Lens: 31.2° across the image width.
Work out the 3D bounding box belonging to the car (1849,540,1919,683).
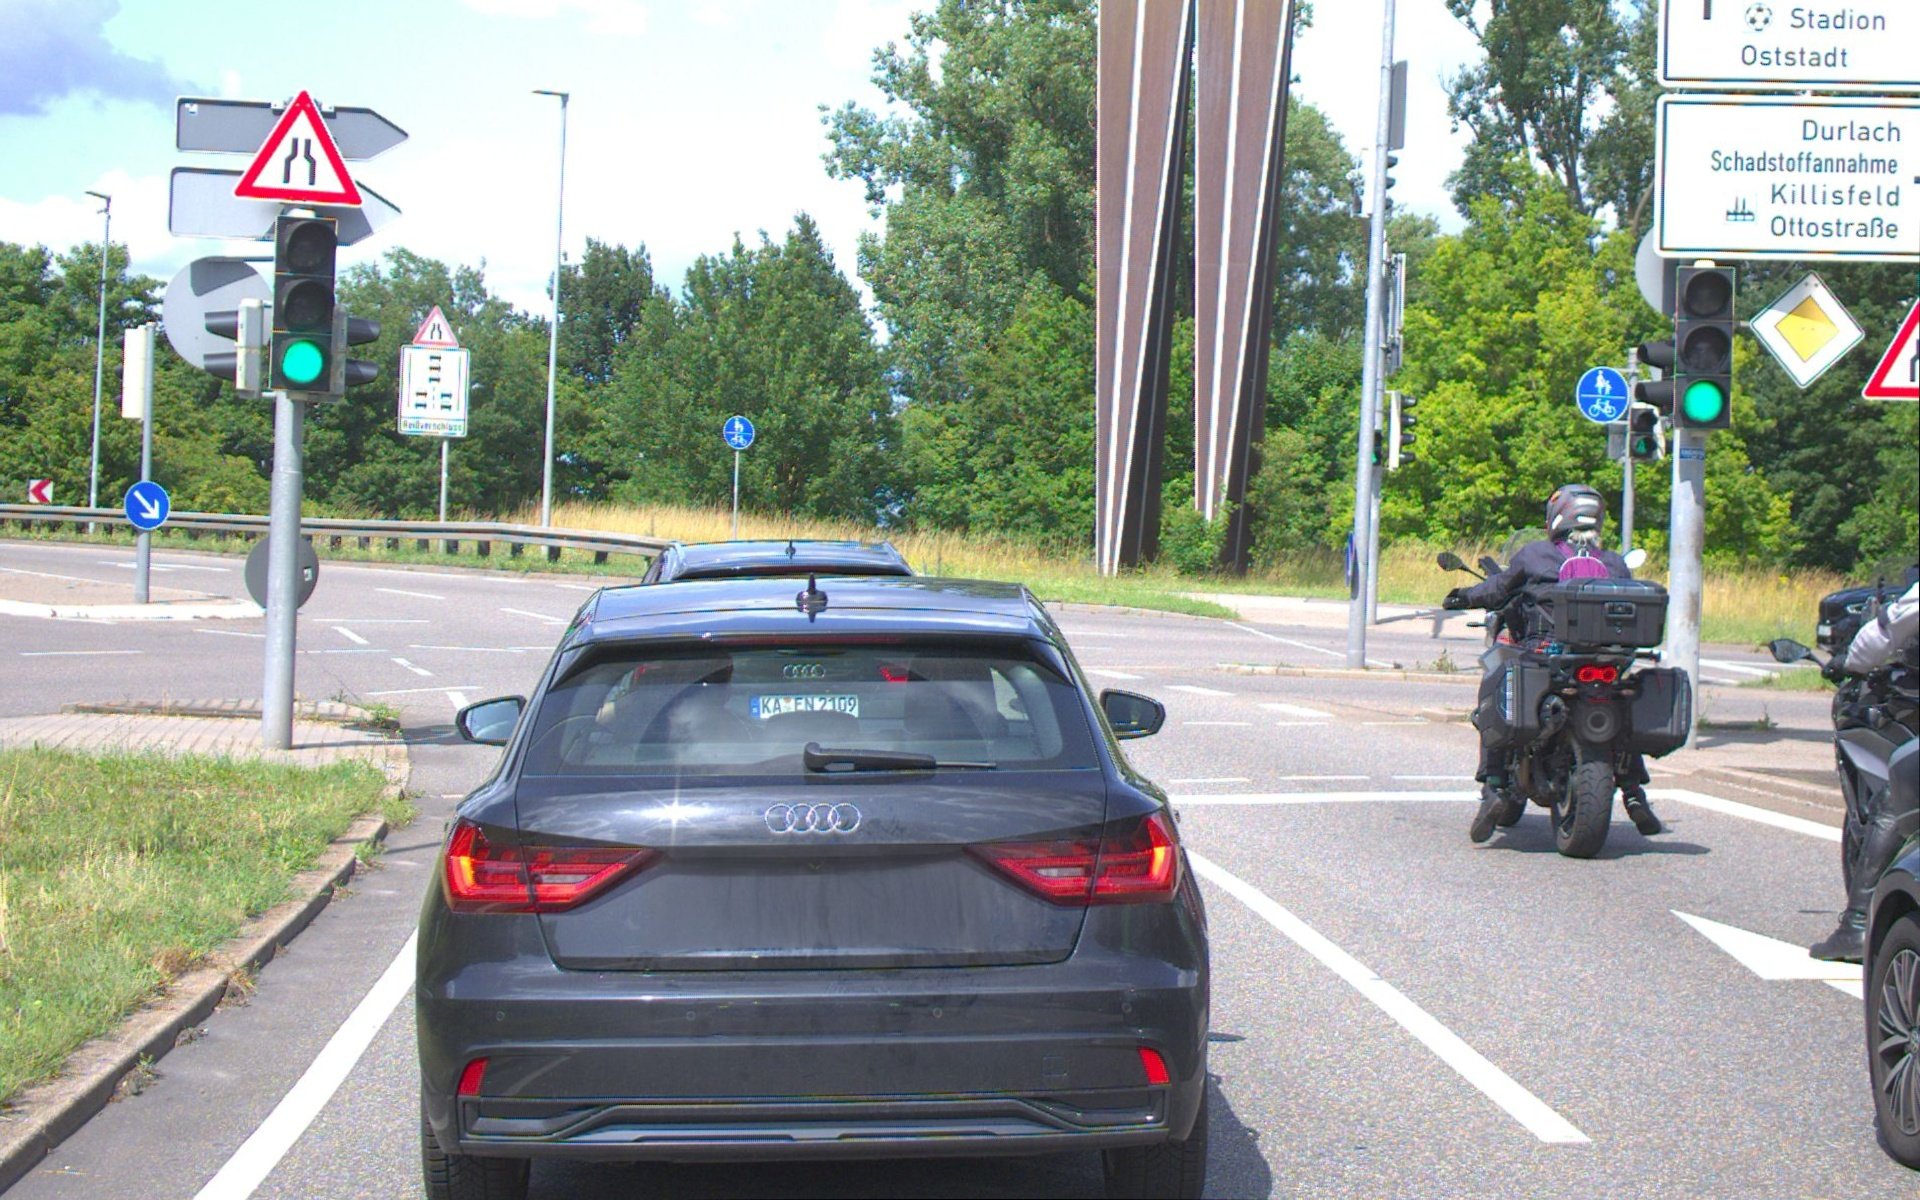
[{"bbox_3d":[12.746,0.223,39.891,4.280,1.611,1.845,3,0,-3],"label":"car"}]

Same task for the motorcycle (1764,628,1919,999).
[{"bbox_3d":[3.497,0.713,11.938,0.789,1.128,2.399,2,1,-1],"label":"motorcycle"}]

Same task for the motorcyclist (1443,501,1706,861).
[{"bbox_3d":[2.844,0.354,16.034,0.966,1.590,1.125,2,1,-1],"label":"motorcyclist"}]

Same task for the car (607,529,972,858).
[{"bbox_3d":[-0.854,0.389,17.673,1.642,1.473,3.873,1,1,-2],"label":"car"}]

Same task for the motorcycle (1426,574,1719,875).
[{"bbox_3d":[2.835,0.536,16.198,0.887,1.243,2.399,2,1,-1],"label":"motorcycle"}]

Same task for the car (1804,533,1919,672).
[{"bbox_3d":[12.993,0.098,43.174,4.201,1.640,1.838,3,2,-3],"label":"car"}]

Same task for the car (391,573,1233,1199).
[{"bbox_3d":[-0.319,0.652,8.757,1.682,1.383,3.739,0,1,-1],"label":"car"}]

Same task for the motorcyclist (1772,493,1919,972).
[{"bbox_3d":[3.521,0.447,12.172,0.966,1.614,1.125,2,1,-1],"label":"motorcyclist"}]

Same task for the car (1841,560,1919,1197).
[{"bbox_3d":[3.116,0.696,6.695,1.642,1.473,3.873,1,1,-2],"label":"car"}]
